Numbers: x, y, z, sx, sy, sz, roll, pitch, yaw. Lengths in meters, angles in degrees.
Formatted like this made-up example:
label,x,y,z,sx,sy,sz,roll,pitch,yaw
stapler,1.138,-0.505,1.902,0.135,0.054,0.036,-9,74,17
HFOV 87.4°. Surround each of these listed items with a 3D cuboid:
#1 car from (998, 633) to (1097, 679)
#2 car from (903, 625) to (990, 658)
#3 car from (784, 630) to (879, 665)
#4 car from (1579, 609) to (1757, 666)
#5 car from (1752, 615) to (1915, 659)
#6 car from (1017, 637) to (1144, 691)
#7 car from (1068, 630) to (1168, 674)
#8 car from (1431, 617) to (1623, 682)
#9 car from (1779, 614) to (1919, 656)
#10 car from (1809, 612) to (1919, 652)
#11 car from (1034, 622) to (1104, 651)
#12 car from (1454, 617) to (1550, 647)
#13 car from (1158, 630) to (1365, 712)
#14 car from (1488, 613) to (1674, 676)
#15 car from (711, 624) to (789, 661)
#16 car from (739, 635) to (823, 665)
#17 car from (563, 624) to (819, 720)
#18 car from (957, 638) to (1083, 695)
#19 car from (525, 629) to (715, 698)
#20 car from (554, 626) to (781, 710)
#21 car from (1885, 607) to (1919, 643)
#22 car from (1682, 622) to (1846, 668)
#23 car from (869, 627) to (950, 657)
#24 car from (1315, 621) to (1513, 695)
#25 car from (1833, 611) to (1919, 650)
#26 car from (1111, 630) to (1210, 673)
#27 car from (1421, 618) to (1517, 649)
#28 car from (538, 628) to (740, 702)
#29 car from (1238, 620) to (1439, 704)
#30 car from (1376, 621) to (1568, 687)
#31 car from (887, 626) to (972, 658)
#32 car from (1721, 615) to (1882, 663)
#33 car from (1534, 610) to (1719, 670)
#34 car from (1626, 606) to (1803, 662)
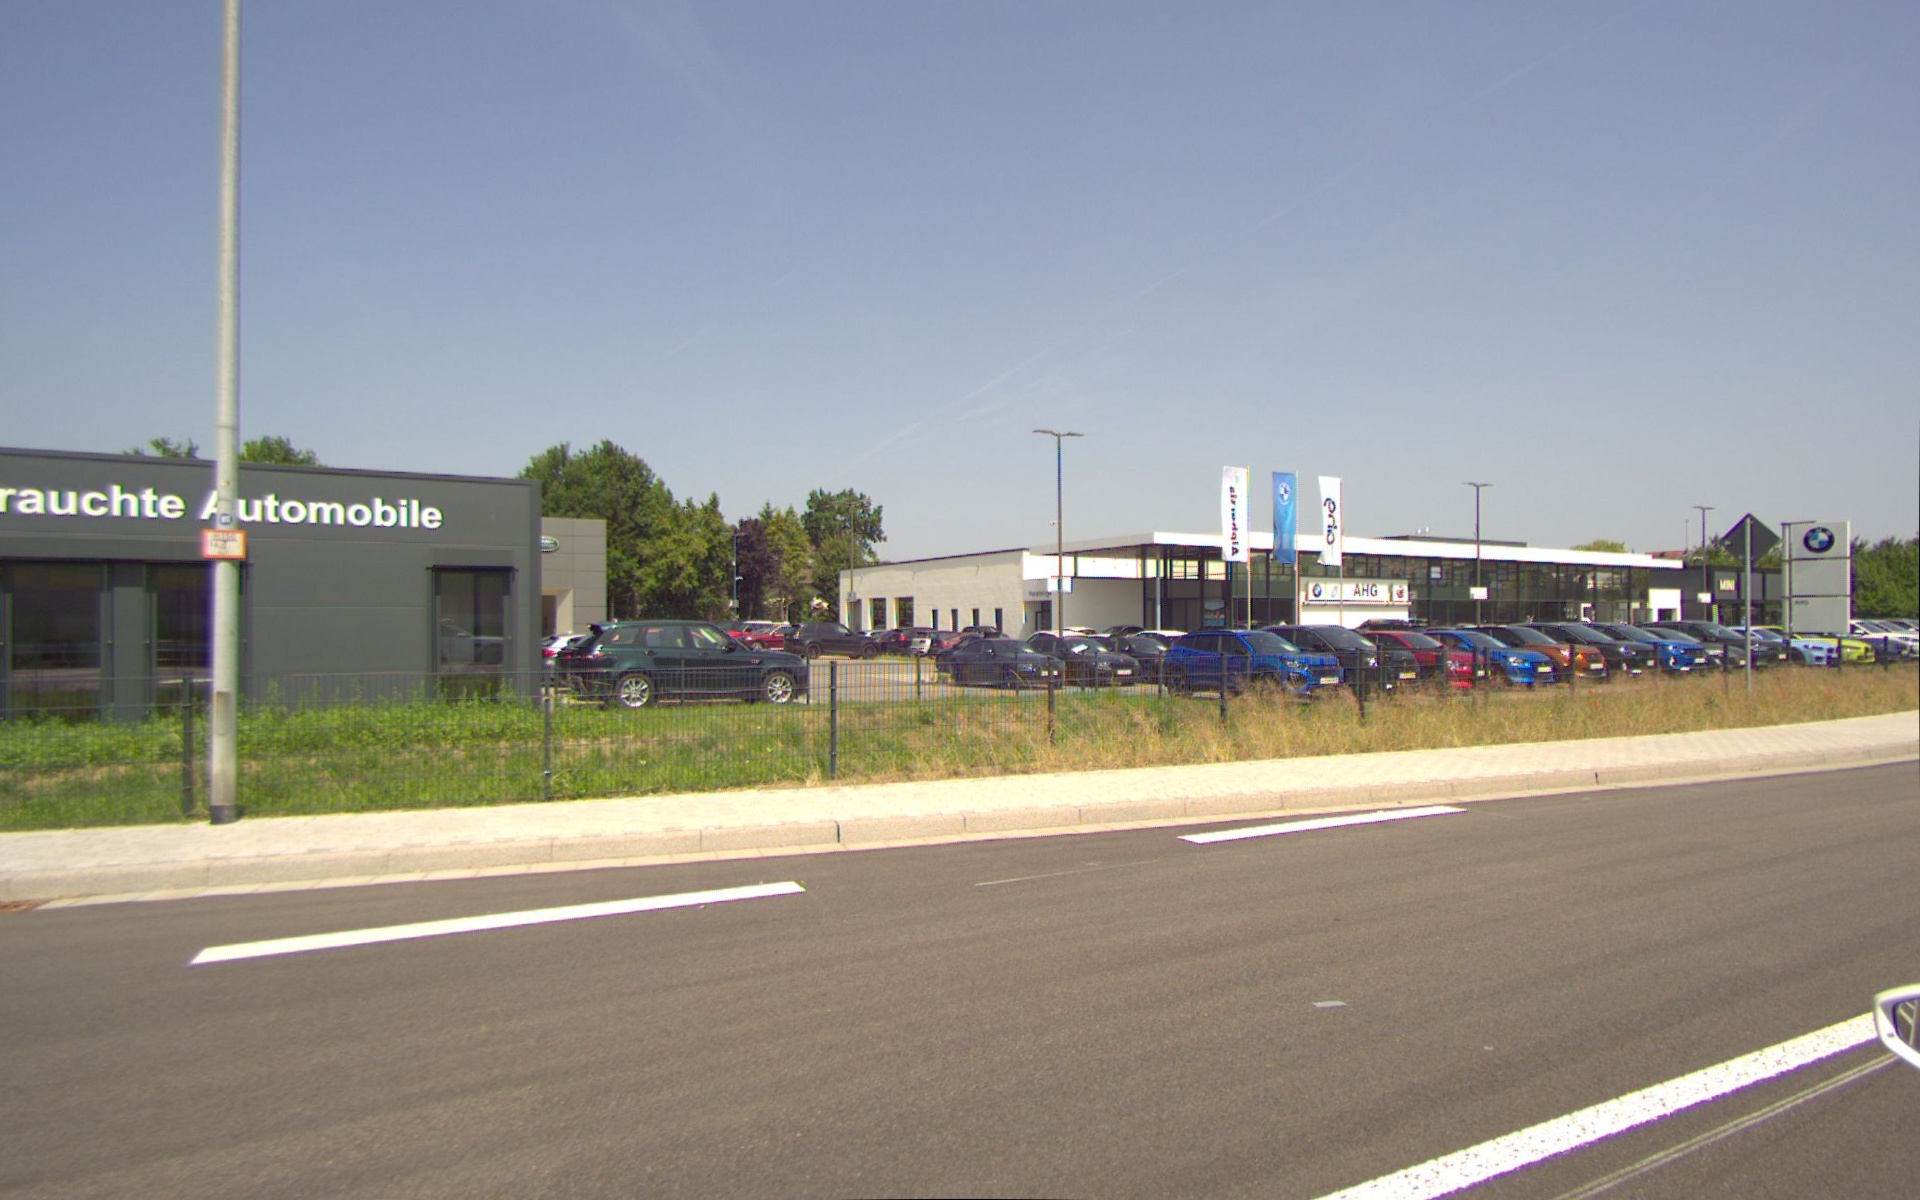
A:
label,x,y,z,sx,sy,sz,roll,pitch,yaw
car,3.286,2.083,38.319,1.659,1.615,3.964,-1,-1,-33
car,-0.655,2.109,51.723,4.299,1.500,1.612,-1,-1,-34
car,-6.173,2.269,48.400,4.299,1.500,1.612,-1,-1,-34
car,21.185,1.106,30.202,1.794,1.555,3.967,-1,-1,-31
car,31.979,1.355,36.890,1.793,1.486,4.147,-1,-1,-29
car,3.621,1.904,30.820,1.794,1.500,3.967,-1,-1,-31
car,6.169,2.023,39.712,1.659,1.615,3.964,-1,-1,-33
car,14.760,1.259,26.338,1.893,1.514,3.967,-1,-1,-31
car,34.262,1.315,38.438,1.793,1.486,4.147,-1,-1,-29
car,36.722,1.251,39.958,1.793,1.486,4.147,-1,-1,-29
car,6.049,2.045,56.103,1.609,1.500,4.309,-1,-1,-31
car,28.716,1.691,53.345,1.793,1.486,4.147,-1,-1,-29
car,6.297,1.436,21.382,1.889,1.500,3.967,-1,-1,-31
car,16.966,1.198,27.621,1.794,1.555,3.967,-1,-1,-31
car,-12.654,2.531,60.643,4.299,2.065,1.612,-1,-1,-34
car,-9.887,2.742,55.563,4.299,1.500,1.612,-1,-1,-34
car,-5.401,1.376,20.390,4.697,1.761,1.944,1,-2,-31
car,1.698,1.892,29.637,1.794,1.500,3.967,-1,-1,-31
car,-9.360,1.693,27.765,4.697,1.761,1.944,1,-2,-31
car,-6.686,1.489,23.113,4.697,1.761,1.944,1,-2,-31
car,43.273,1.074,43.648,1.793,1.565,4.147,-1,-1,-29
car,27.377,1.503,34.329,1.855,1.409,3.971,-1,-1,-28
car,-2.799,2.306,55.987,4.299,1.500,1.612,-1,-1,-34
car,10.665,1.323,23.885,1.794,1.548,3.967,-1,-1,-31
car,38.917,1.240,41.328,1.793,1.565,4.147,-1,-1,-29
car,8.137,2.064,41.062,1.794,1.607,3.967,-1,-1,-31
car,26.387,1.740,52.236,1.793,1.486,4.147,-1,-1,-29
car,-8.270,1.616,26.023,4.697,1.761,1.944,1,-2,-31
car,8.378,1.322,22.576,1.794,1.657,3.967,-1,-1,-31
car,12.726,1.317,25.210,1.766,1.464,3.967,-1,-1,-31
car,-1.608,2.229,53.662,4.299,1.500,1.612,-1,-1,-34
car,29.714,1.349,35.594,1.793,1.555,3.970,-1,-1,-29
car,19.087,1.140,28.931,1.949,1.555,3.967,-1,-1,-31
car,23.663,1.052,31.635,2.030,1.593,3.967,-1,-1,-31
